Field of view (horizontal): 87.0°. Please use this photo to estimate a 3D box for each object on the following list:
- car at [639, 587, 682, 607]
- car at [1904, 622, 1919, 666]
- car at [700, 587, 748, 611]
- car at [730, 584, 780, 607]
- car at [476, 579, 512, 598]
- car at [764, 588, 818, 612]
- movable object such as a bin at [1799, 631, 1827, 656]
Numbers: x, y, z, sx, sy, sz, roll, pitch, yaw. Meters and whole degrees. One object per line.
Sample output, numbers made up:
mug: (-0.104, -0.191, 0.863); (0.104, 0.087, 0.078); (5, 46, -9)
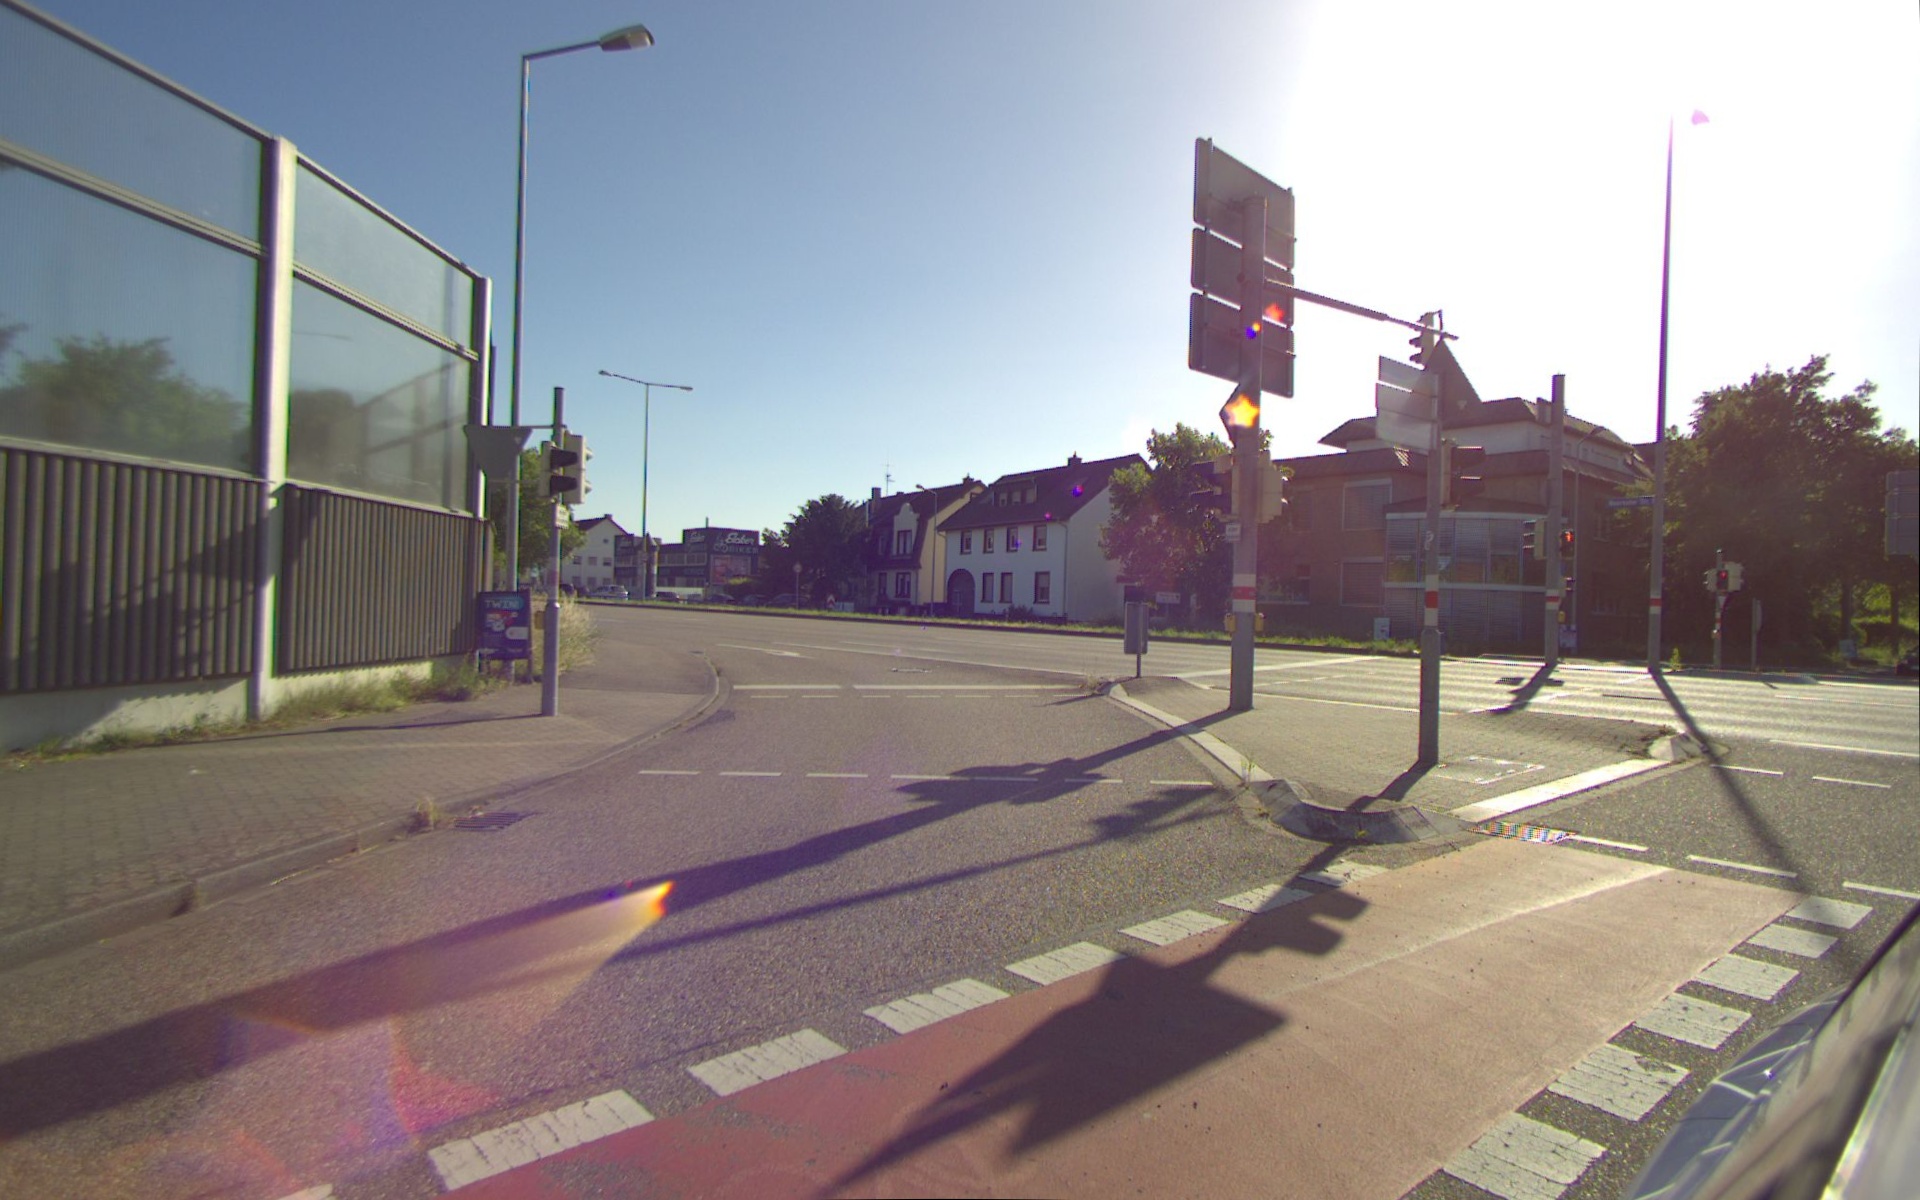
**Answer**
car: (-25.900, -0.234, 87.472); (1.966, 1.612, 3.991); (3, -2, -42)
car: (34.933, 1.562, 35.315); (3.702, 1.505, 1.780); (2, -2, -28)
car: (-18.829, -0.056, 80.680); (1.966, 1.842, 3.991); (3, -2, -42)
car: (-15.627, -0.347, 76.962); (1.966, 1.617, 3.991); (3, -2, -42)
car: (-41.492, -1.033, 90.029); (1.709, 1.459, 3.783); (3, -1, -45)
car: (-12.285, -0.002, 73.339); (1.966, 1.638, 3.992); (2, 0, -42)
movable object such as a bin: (48.740, 2.475, 57.827); (0.781, 1.339, 1.089); (2, -1, -37)
